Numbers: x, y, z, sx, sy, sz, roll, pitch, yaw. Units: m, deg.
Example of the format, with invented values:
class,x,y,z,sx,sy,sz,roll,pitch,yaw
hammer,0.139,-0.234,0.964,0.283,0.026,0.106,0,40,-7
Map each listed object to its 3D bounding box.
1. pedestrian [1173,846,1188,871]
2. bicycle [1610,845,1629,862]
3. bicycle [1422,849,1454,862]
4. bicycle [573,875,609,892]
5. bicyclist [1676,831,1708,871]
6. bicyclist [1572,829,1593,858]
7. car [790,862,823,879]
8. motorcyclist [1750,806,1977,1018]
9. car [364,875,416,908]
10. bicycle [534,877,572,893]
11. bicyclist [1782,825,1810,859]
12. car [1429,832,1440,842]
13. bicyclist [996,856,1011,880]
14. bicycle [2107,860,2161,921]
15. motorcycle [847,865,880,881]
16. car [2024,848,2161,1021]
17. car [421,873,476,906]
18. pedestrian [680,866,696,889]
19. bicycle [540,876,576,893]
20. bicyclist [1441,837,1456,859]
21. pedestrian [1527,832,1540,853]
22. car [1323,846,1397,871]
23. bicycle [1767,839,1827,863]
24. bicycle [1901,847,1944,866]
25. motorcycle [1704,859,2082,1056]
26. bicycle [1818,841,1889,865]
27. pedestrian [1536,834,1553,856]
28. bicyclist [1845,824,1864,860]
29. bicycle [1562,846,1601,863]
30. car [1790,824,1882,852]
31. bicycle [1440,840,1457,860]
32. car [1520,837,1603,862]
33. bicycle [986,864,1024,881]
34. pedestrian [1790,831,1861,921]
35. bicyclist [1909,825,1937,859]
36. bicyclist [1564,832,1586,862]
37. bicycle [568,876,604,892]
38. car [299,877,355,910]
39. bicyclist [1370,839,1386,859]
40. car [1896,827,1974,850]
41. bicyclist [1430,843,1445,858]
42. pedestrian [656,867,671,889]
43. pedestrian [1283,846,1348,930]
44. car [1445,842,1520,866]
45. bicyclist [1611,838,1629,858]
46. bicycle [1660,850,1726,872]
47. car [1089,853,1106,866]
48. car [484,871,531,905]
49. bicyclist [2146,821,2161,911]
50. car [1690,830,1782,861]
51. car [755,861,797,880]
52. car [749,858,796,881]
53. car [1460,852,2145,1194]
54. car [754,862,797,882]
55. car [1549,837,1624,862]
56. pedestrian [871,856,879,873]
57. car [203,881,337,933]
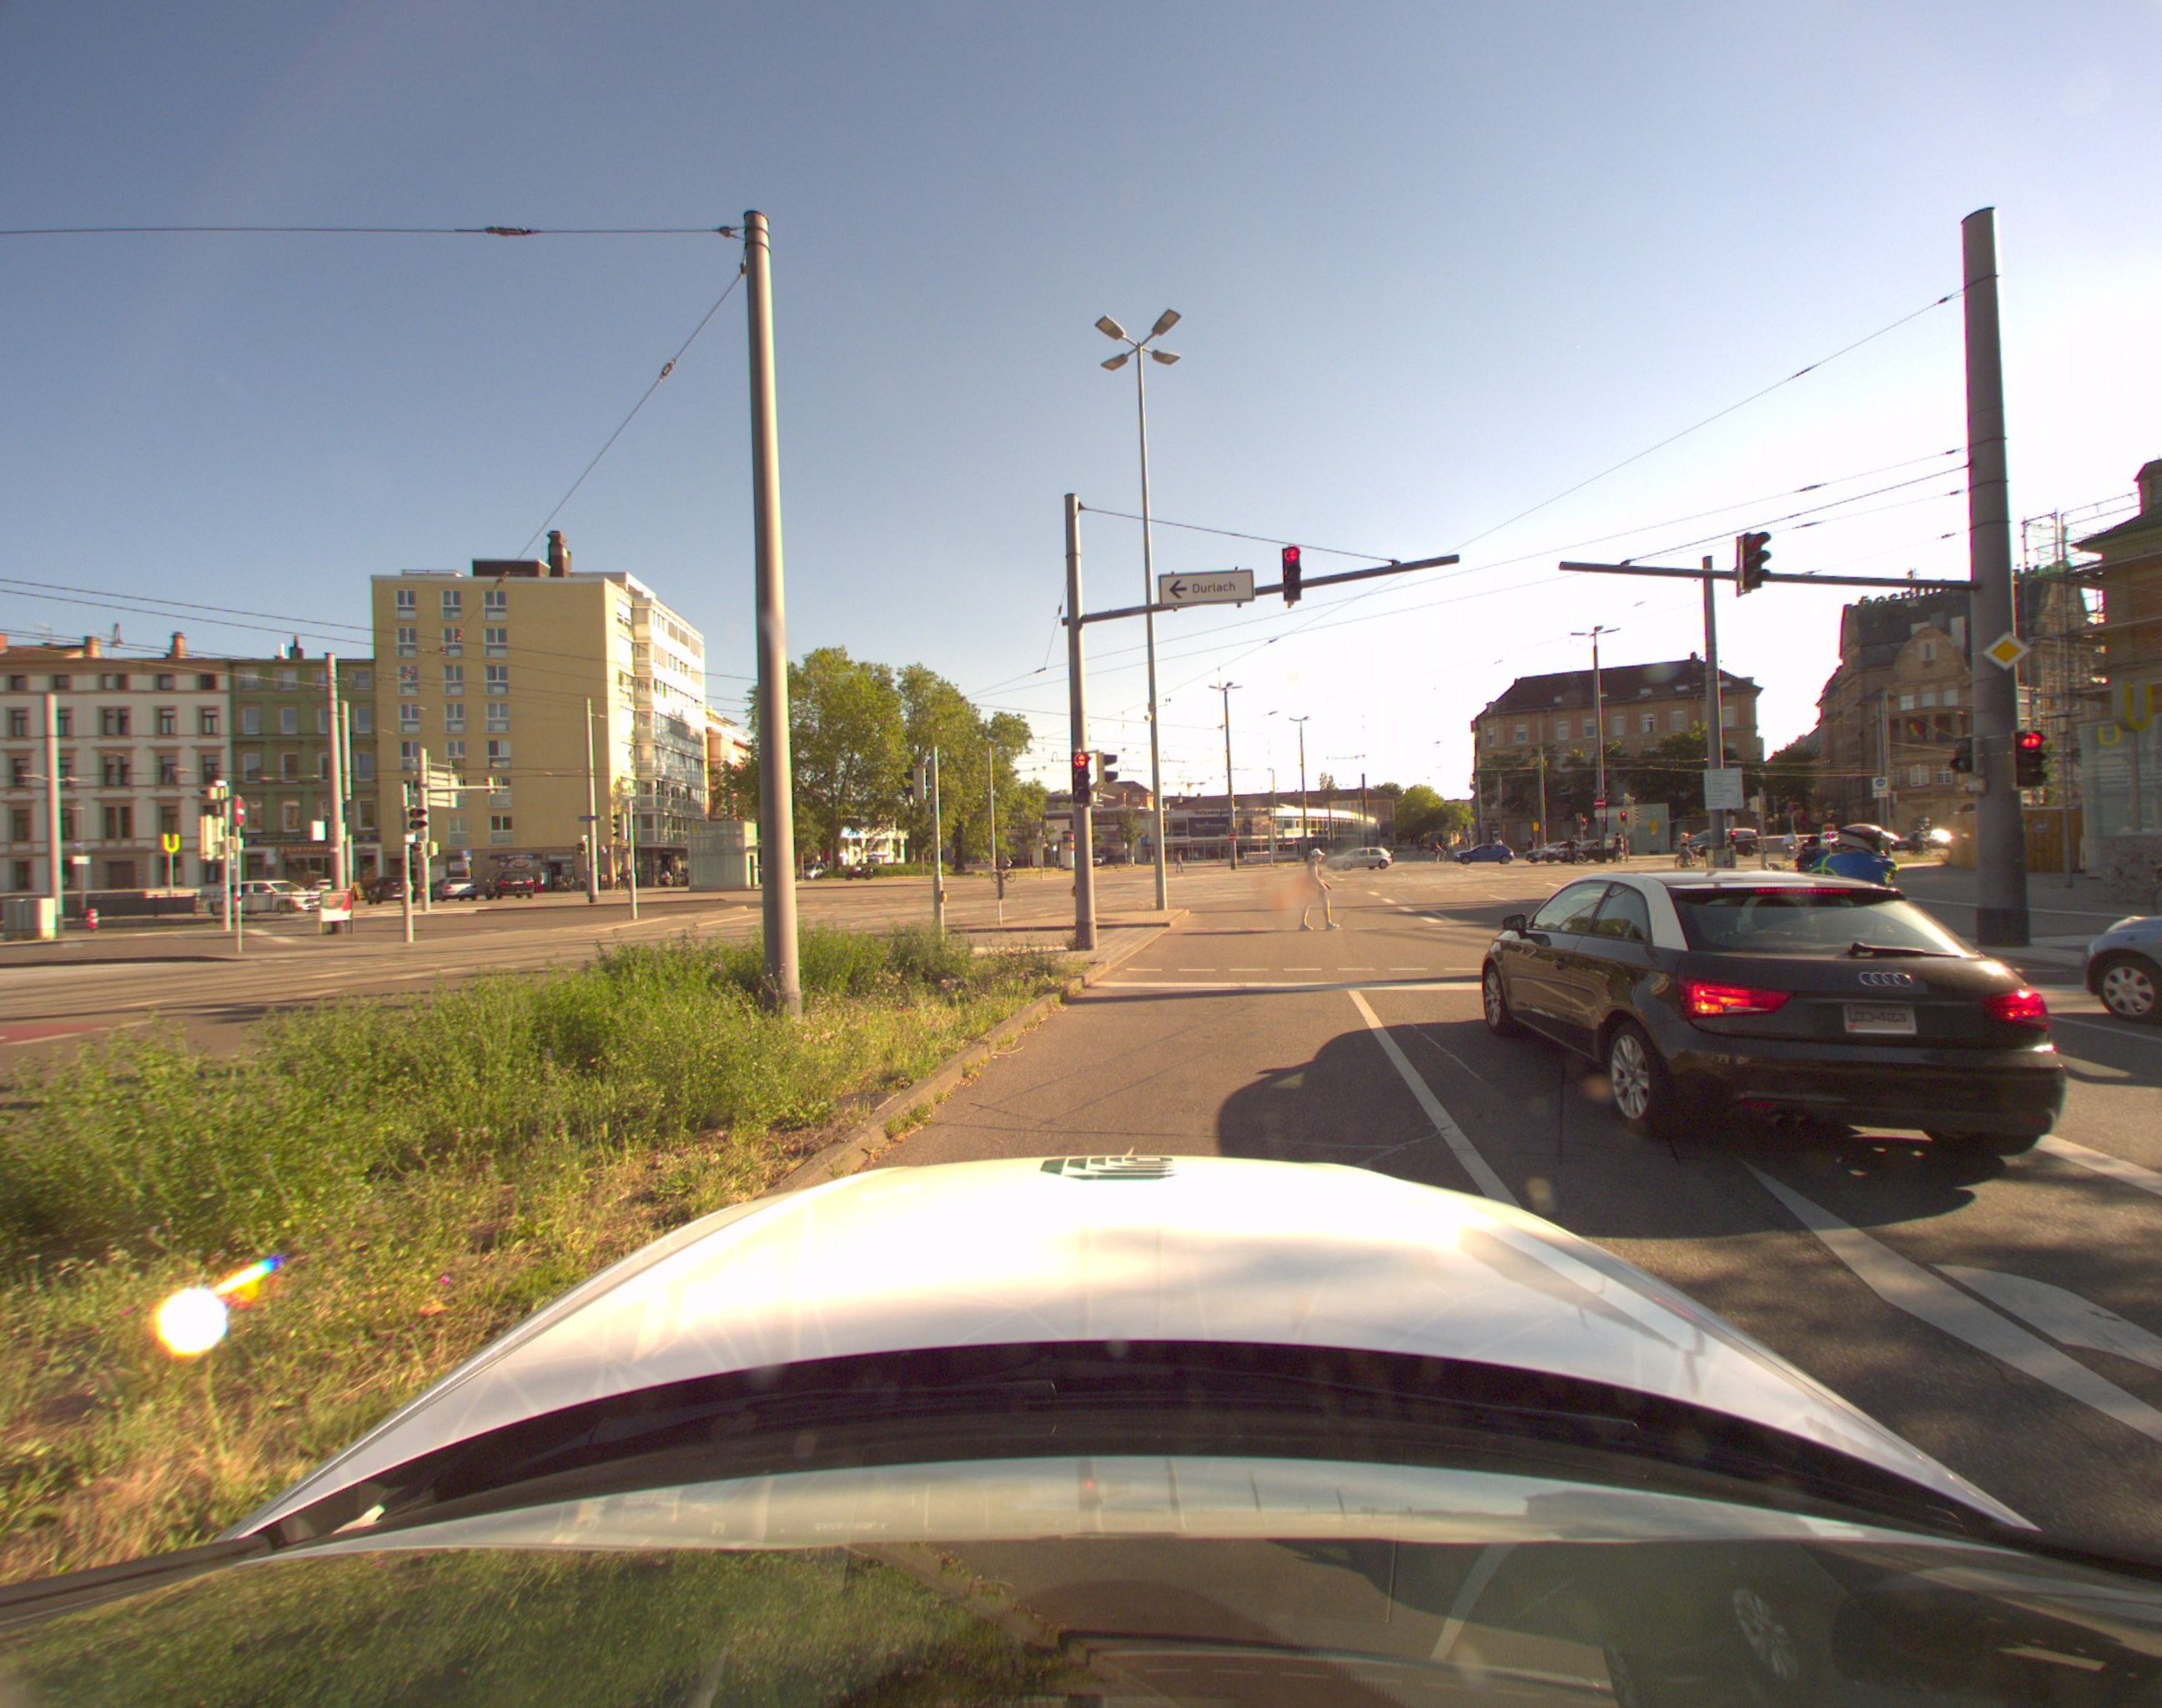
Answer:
class,x,y,z,sx,sy,sz,roll,pitch,yaw
pedestrian,7.463,0.360,60.978,0.983,1.816,0.923,-1,1,10
bicycle,32.143,-0.046,48.620,0.849,0.905,2.318,0,2,31
bicycle,28.373,0.094,64.686,2.302,0.959,0.855,-2,2,-18
bicycle,-35.486,2.120,58.990,2.040,1.090,0.775,-2,0,-8
bicyclist,26.659,-0.147,35.542,0.745,1.690,0.857,-1,1,-9
bicyclist,29.852,-0.607,48.520,0.652,1.690,0.853,-2,2,-24
car,-25.043,1.489,74.382,1.843,1.452,3.994,-1,0,-4
motorcyclist,6.801,0.479,7.165,1.088,1.721,0.940,-1,-1,13
car,-41.636,2.242,49.032,3.949,1.719,1.851,0,2,42
bicycle,-37.492,2.198,57.845,2.040,1.090,0.775,-2,0,-8
bicyclist,36.439,-0.630,41.495,0.648,1.690,0.858,-1,1,-6
car,64.187,-3.125,147.731,1.785,1.655,3.941,-1,2,25
bicyclist,-5.138,0.926,54.085,0.921,1.559,0.962,-2,0,-4
bicycle,16.967,0.551,12.185,0.715,0.952,2.256,-1,-1,12
motorcycle,-16.167,1.420,60.515,2.278,1.054,0.687,-1,1,-2
car,9.742,0.673,5.884,1.789,1.444,3.991,0,0,12
car,-38.427,2.134,49.456,3.949,1.748,1.851,0,2,40
pedestrian,-29.895,1.761,61.941,0.774,1.676,0.781,-2,0,-5
bicycle,-37.683,2.176,58.697,2.040,1.090,0.775,-2,0,-8
bicyclist,33.553,-0.541,74.377,1.108,1.900,1.080,0,2,29
pedestrian,36.163,-0.908,65.109,0.642,1.653,0.552,-2,0,-26
car,18.119,0.290,53.004,4.084,1.452,1.952,-2,0,-2
bicycle,36.468,-0.163,41.505,2.490,1.133,0.858,-1,2,-7
bicycle,43.306,0.107,41.892,2.307,0.905,0.853,-2,2,-25
motorcycle,6.801,0.743,7.151,1.088,1.377,2.662,-1,0,13
bicycle,37.192,-0.062,39.252,2.469,1.133,0.865,0,2,42
pedestrian,36.339,-0.737,63.911,0.918,1.676,0.785,-2,0,11
bicyclist,37.229,-0.597,39.202,0.643,1.690,0.865,0,2,42
bicycle,29.817,0.025,48.498,2.306,0.905,0.853,-2,2,-24
car,52.785,-1.122,56.981,4.825,1.799,1.951,-2,0,-4
bicycle,33.657,-0.428,74.483,1.124,1.689,4.025,0,2,28
car,32.707,-0.278,55.501,4.533,1.517,1.952,-2,0,-2
bicycle,-5.037,1.244,54.093,2.433,1.003,0.962,-2,0,-4
pedestrian,14.374,0.418,15.737,0.831,1.671,0.692,-3,-1,-27
bicyclist,43.302,-0.627,41.876,0.652,1.690,0.853,-2,2,-25
bicyclist,29.284,-0.417,48.261,0.585,1.778,0.860,-2,0,-24
bicycle,-35.334,2.142,58.157,2.040,1.090,0.775,-2,0,-8
car,-45.182,2.327,48.763,3.959,1.719,2.100,0,2,42
bicyclist,23.809,-0.440,65.344,0.924,1.559,0.857,-2,1,-11
car,61.804,-1.154,58.965,4.347,1.563,1.944,-2,2,-13
bicyclist,28.273,-0.266,64.652,0.714,1.143,0.832,-2,2,-18
pedestrian,-31.837,1.810,62.089,0.774,1.676,0.781,-2,0,-5
pedestrian,4.643,0.659,16.195,1.088,1.606,0.699,-1,1,1
car,28.759,0.006,58.425,4.564,1.594,1.963,-2,0,18
bicyclist,32.063,-0.359,48.490,0.849,1.176,0.719,0,2,30
bicycle,26.722,0.288,35.563,2.493,0.874,0.857,-2,2,-10
car,2.222,0.756,108.204,1.983,1.534,4.008,-1,2,6
car,-35.367,2.050,50.161,1.863,1.857,3.952,-3,2,-42
bicyclist,16.956,0.172,12.165,0.715,1.384,1.079,-1,-1,12
car,43.419,-0.573,54.046,4.830,1.893,1.949,-2,0,-7
car,-32.473,1.749,86.705,4.005,1.857,1.839,-2,2,-23
car,-29.420,1.436,77.645,4.005,2.013,1.984,-2,0,-23
car,4.057,0.721,5.589,1.789,1.444,3.991,0,0,12
car,-30.878,1.797,82.352,4.005,1.857,1.839,-2,2,-23
car,32.717,-0.289,52.737,4.102,1.486,1.941,-2,0,-19
pedestrian,-24.609,1.242,97.111,0.584,2.013,0.713,-2,0,11
car,-36.467,2.358,36.703,3.732,2.013,1.995,-1,2,-8
